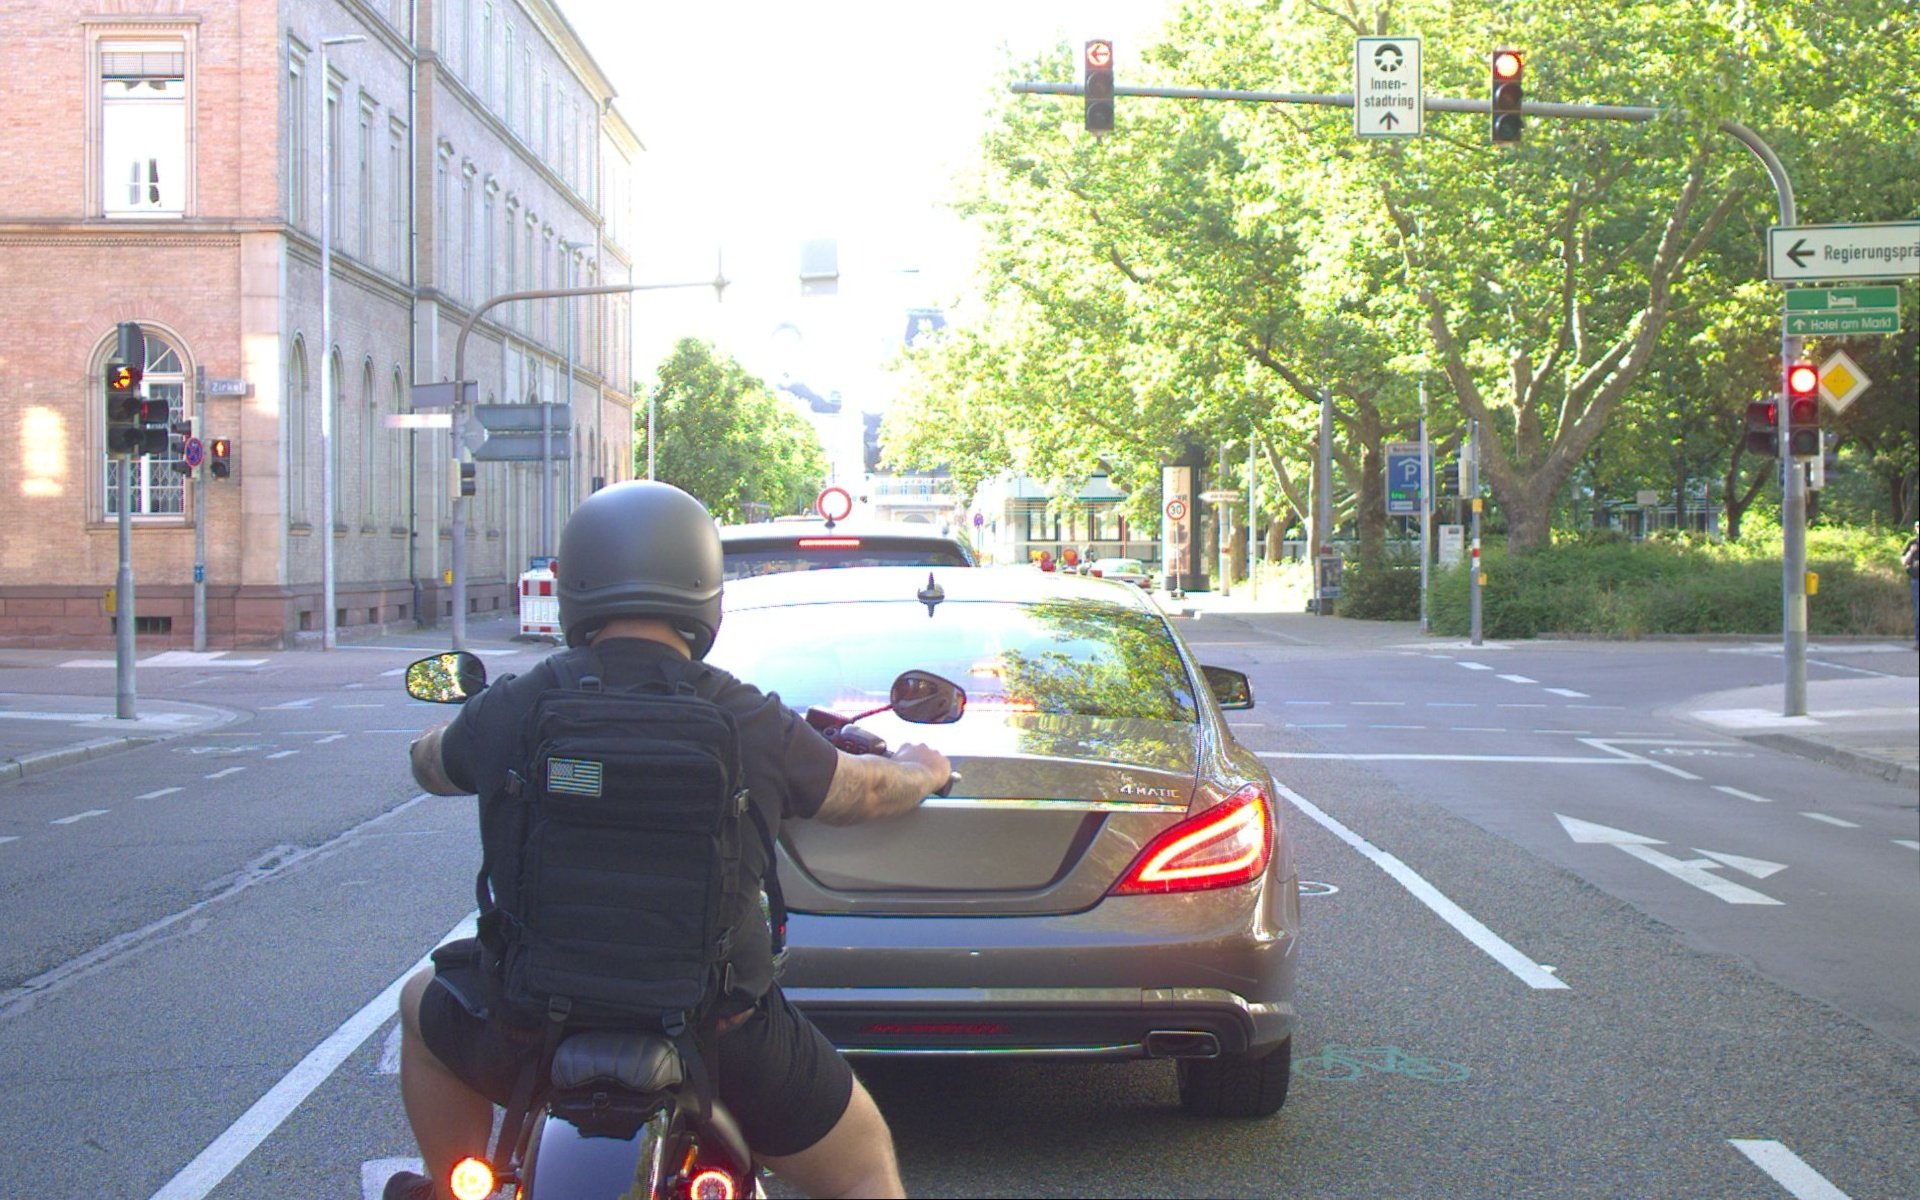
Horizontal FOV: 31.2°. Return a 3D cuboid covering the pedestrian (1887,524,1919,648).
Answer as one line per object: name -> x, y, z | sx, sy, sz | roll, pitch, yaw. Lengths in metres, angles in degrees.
pedestrian -> 13.791, -0.200, 49.361 | 0.737, 1.772, 0.728 | 1, 0, 30

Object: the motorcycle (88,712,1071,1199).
motorcycle -> -0.465, 0.835, 5.510 | 1.118, 1.203, 2.212 | 1, 1, 6

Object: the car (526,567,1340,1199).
car -> -0.082, 0.638, 9.674 | 1.822, 1.432, 3.806 | 1, 1, -1

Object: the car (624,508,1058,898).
car -> -0.541, 0.431, 16.952 | 1.863, 1.672, 4.000 | 1, 1, -1

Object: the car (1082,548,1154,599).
car -> 4.055, -0.687, 88.638 | 1.631, 1.255, 3.716 | 1, 1, -1

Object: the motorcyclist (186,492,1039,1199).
motorcyclist -> -0.480, 0.632, 5.286 | 1.099, 1.560, 1.071 | 1, 0, 6
